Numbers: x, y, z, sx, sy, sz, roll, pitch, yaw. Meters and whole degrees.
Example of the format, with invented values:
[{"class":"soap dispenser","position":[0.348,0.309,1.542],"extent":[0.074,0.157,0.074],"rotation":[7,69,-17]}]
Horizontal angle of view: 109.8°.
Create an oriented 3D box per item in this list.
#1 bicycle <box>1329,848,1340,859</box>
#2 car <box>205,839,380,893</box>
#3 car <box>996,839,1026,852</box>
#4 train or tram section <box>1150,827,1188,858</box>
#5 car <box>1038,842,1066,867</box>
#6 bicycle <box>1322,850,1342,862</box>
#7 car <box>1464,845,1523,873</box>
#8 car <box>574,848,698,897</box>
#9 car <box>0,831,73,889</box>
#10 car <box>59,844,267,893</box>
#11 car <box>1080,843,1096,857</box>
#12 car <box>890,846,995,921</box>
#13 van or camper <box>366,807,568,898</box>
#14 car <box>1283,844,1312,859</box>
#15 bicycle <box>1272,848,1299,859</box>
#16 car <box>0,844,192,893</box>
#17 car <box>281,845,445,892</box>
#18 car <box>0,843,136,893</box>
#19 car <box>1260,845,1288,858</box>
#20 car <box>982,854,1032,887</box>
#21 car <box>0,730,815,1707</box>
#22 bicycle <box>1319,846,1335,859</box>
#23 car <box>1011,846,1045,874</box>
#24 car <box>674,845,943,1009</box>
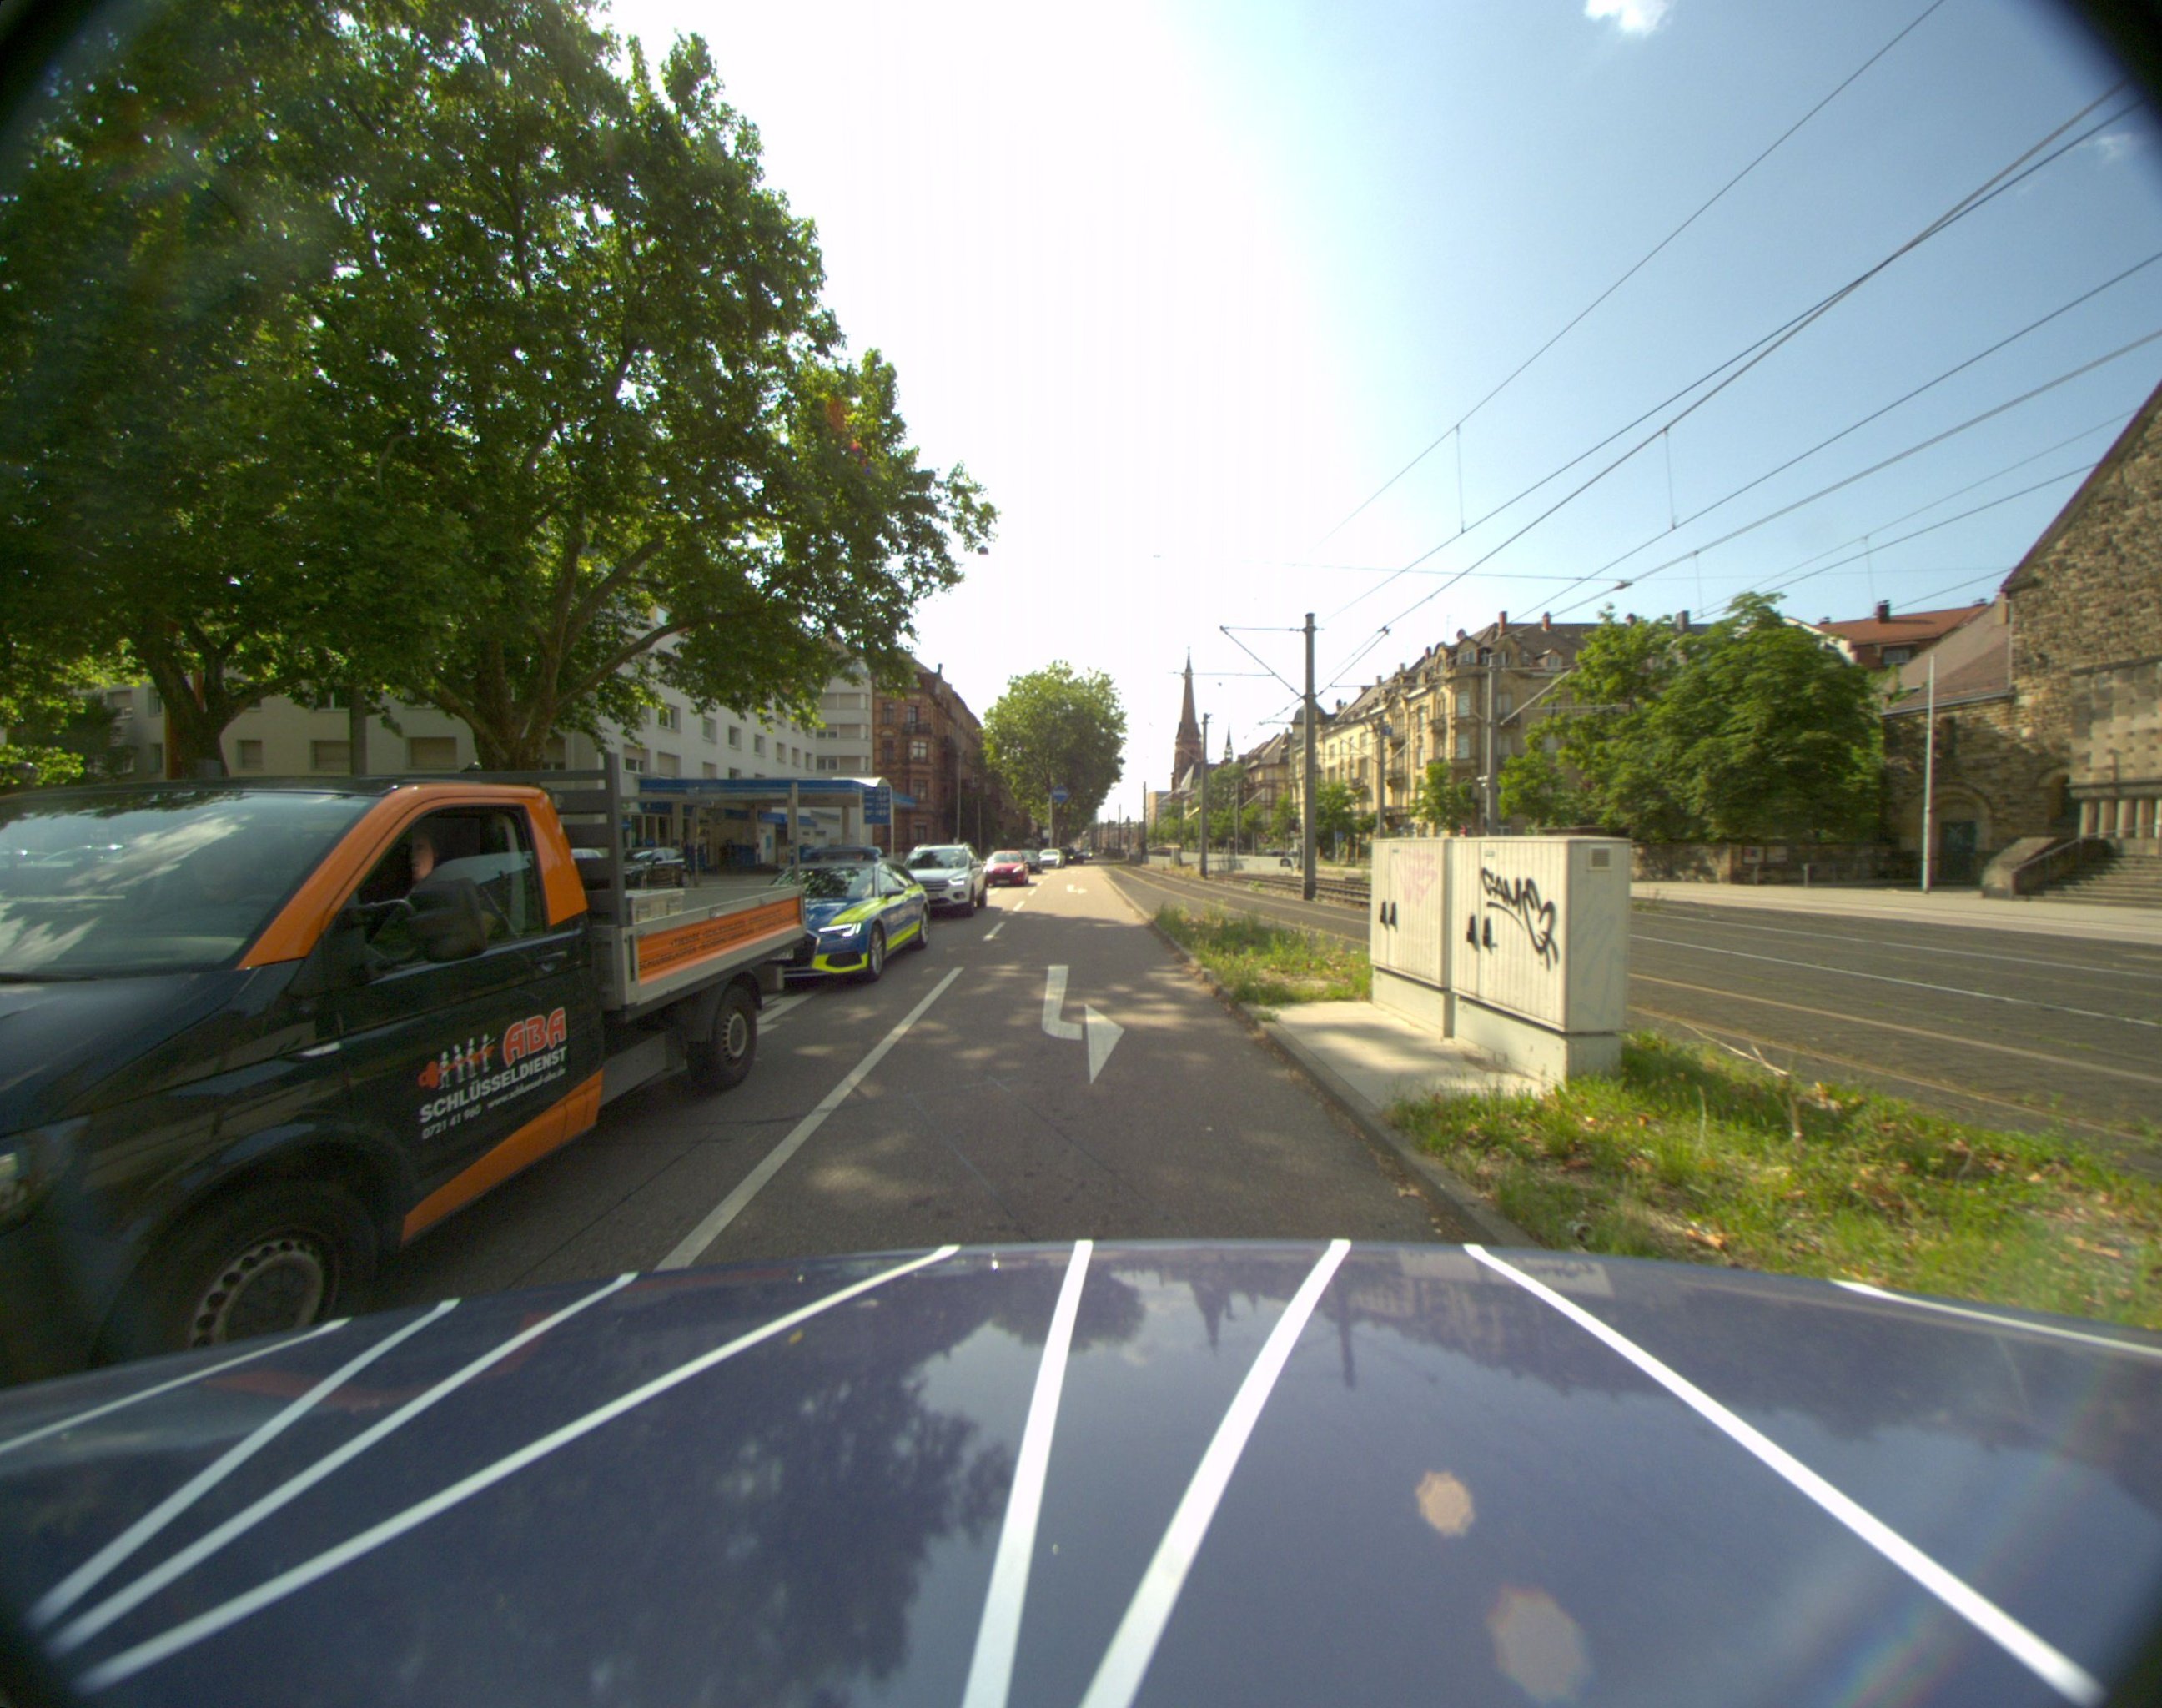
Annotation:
[{"class":"bicycle","position":[26.046,-0.041,77.982],"extent":[0.428,1.133,2.023],"rotation":[-3,1,0]},{"class":"car","position":[-25.494,0.320,24.781],"extent":[1.530,1.595,3.998],"rotation":[-1,1,-1]},{"class":"car","position":[-10.599,-1.327,115.343],"extent":[4.413,1.907,1.999],"rotation":[0,1,-2]},{"class":"train or tram section","position":[10.881,-1.424,95.136],"extent":[2.860,3.559,12.830],"rotation":[0,1,-1]},{"class":"car","position":[-2.143,0.003,57.120],"extent":[1.952,1.598,5.073],"rotation":[0,3,-1]},{"class":"bicycle","position":[23.281,0.205,70.488],"extent":[1.711,1.063,0.471],"rotation":[0,1,-6]},{"class":"car","position":[23.440,0.253,43.327],"extent":[1.671,1.408,3.845],"rotation":[2,2,8]},{"class":"car","position":[-14.394,0.539,24.883],"extent":[1.757,1.402,3.998],"rotation":[0,1,-1]},{"class":"car","position":[-36.755,0.255,24.560],"extent":[1.999,1.923,4.680],"rotation":[-2,1,-1]},{"class":"car","position":[-29.097,0.392,24.307],"extent":[1.766,1.356,3.998],"rotation":[-2,1,-1]},{"class":"car","position":[0.810,-0.501,90.597],"extent":[1.764,1.491,4.185],"rotation":[0,2,-1]},{"class":"car","position":[-3.234,0.611,18.640],"extent":[1.764,1.597,4.678],"rotation":[0,1,-1]},{"class":"van or camper","position":[-19.979,-0.104,25.165],"extent":[2.107,2.626,5.348],"rotation":[-2,1,1]},{"class":"car","position":[22.658,-0.247,79.558],"extent":[1.690,1.494,4.707],"rotation":[0,1,0]},{"class":"bicycle","position":[23.133,-0.071,86.067],"extent":[2.957,1.239,0.792],"rotation":[0,1,-13]},{"class":"car","position":[-31.590,0.419,24.220],"extent":[1.766,1.356,3.998],"rotation":[-2,1,-1]},{"class":"car","position":[-22.810,0.398,24.377],"extent":[1.477,1.286,3.998],"rotation":[-2,1,-1]},{"class":"car","position":[-34.254,0.455,24.832],"extent":[1.663,1.511,3.998],"rotation":[-2,1,-1]},{"class":"car","position":[22.703,-0.317,89.577],"extent":[1.803,1.518,4.486],"rotation":[-2,1,-4]},{"class":"car","position":[-2.979,0.650,31.224],"extent":[1.620,1.182,3.632],"rotation":[0,1,1]},{"class":"car","position":[-3.205,0.652,3.529],"extent":[2.080,1.976,5.332],"rotation":[0,3,-1]},{"class":"bicycle","position":[26.127,-0.163,80.836],"extent":[0.659,1.241,2.942],"rotation":[-3,1,0]},{"class":"car","position":[-3.076,0.311,44.631],"extent":[1.764,1.491,4.185],"rotation":[0,2,-1]},{"class":"car","position":[-3.345,0.748,10.622],"extent":[1.871,1.643,5.152],"rotation":[-1,1,0]}]
